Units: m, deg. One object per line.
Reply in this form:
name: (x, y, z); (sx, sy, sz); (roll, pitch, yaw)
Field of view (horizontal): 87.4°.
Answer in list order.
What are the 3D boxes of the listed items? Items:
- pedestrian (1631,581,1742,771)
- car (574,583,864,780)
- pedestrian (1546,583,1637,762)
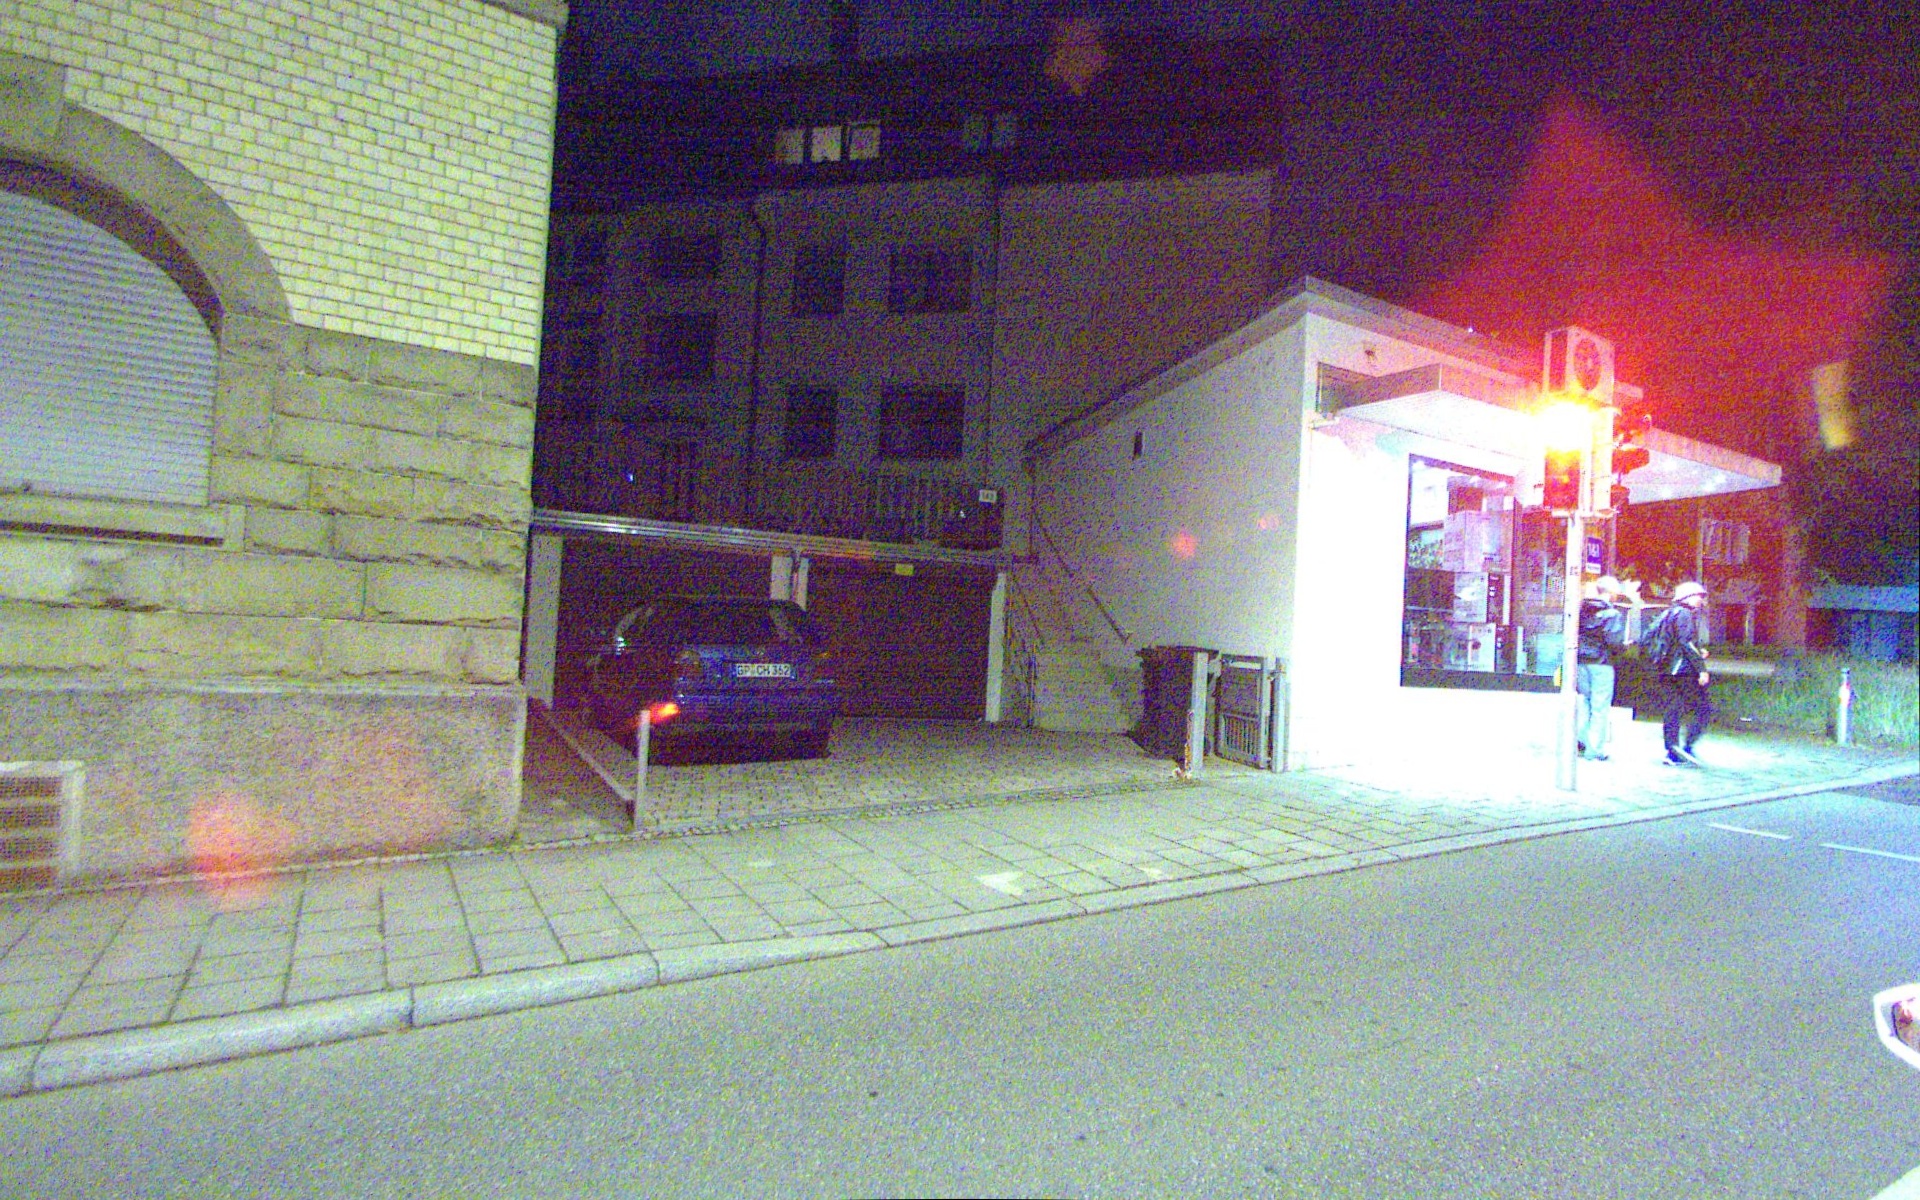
pedestrian: (7.227, 0.730, 9.994); (0.729, 1.801, 0.567); (2, 2, -30)
car: (-2.459, 0.610, 9.567); (1.700, 1.460, 3.631); (2, 0, -30)
pedestrian: (6.411, 0.714, 10.205); (0.537, 1.754, 0.567); (2, 0, -30)
